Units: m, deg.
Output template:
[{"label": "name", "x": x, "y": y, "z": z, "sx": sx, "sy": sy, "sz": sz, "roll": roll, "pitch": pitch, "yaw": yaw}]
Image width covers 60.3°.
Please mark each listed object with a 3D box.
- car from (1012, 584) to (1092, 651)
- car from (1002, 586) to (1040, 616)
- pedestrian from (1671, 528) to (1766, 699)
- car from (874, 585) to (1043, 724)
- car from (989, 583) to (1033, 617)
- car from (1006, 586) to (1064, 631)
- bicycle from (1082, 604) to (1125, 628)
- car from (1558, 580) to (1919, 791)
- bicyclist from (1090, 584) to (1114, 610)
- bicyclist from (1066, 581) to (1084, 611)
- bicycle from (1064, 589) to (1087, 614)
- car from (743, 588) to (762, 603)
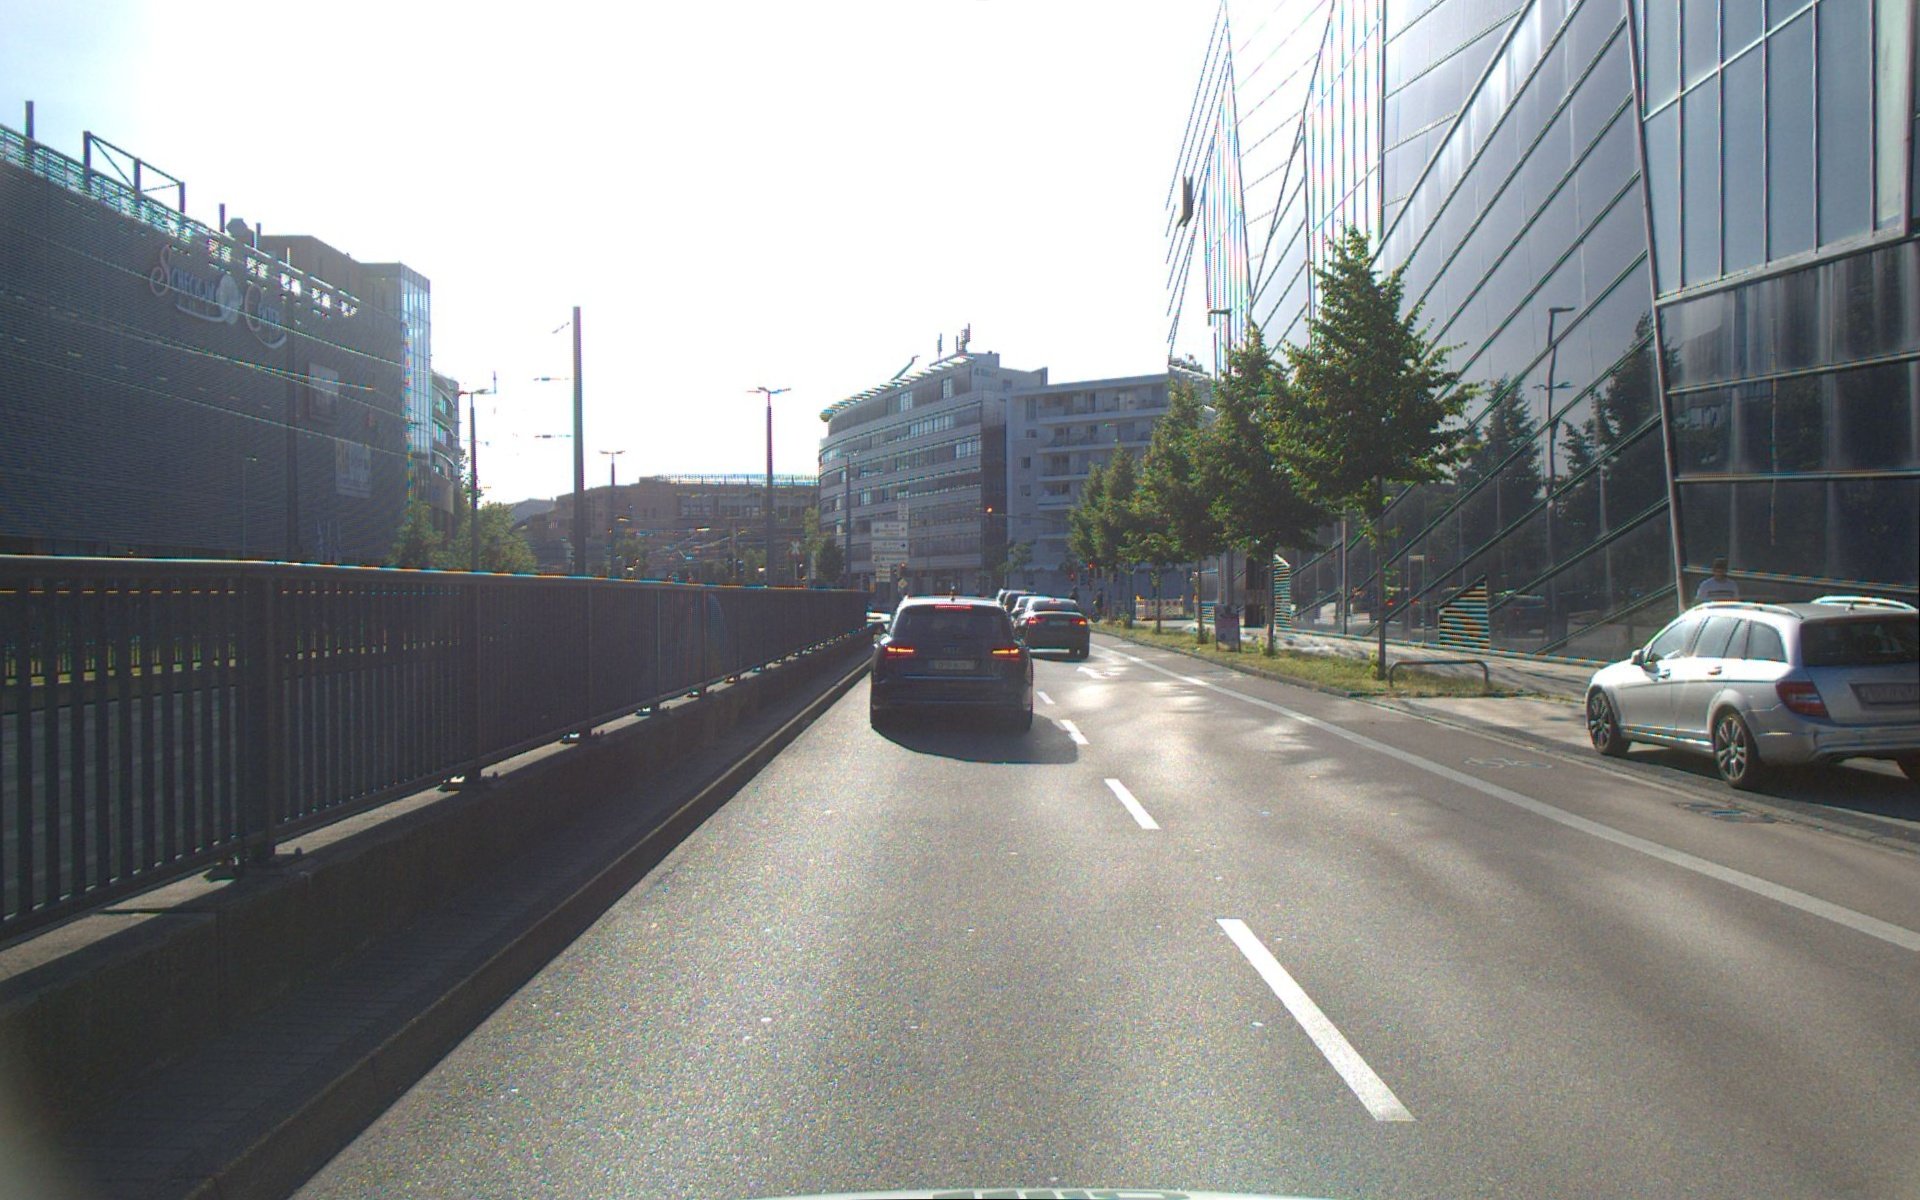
[{"label": "car", "x": 2.282, "y": 0.405, "z": 41.890, "sx": 1.814, "sy": 1.573, "sz": 4.000, "roll": 1, "pitch": 1, "yaw": 0}, {"label": "car", "x": 3.223, "y": 0.029, "z": 87.453, "sx": 1.952, "sy": 1.491, "sz": 4.001, "roll": 1, "pitch": 1, "yaw": 1}, {"label": "pedestrian", "x": 9.322, "y": 0.157, "z": 20.357, "sx": 0.819, "sy": 2.049, "sz": 0.689, "roll": -1, "pitch": 0, "yaw": 0}, {"label": "car", "x": -0.046, "y": 0.573, "z": 19.829, "sx": 1.775, "sy": 1.452, "sz": 4.689, "roll": 0, "pitch": 0, "yaw": -1}, {"label": "car", "x": 2.358, "y": -0.022, "z": 76.318, "sx": 1.952, "sy": 1.491, "sz": 4.001, "roll": 1, "pitch": 1, "yaw": 1}, {"label": "car", "x": 2.658, "y": 0.283, "z": 59.159, "sx": 1.952, "sy": 1.491, "sz": 4.001, "roll": 1, "pitch": 1, "yaw": 1}, {"label": "bicycle", "x": 7.432, "y": 0.826, "z": 85.515, "sx": 2.053, "sy": 1.204, "sz": 0.723, "roll": -2, "pitch": 0, "yaw": -16}, {"label": "car", "x": 7.162, "y": 0.607, "z": 14.760, "sx": 1.815, "sy": 1.506, "sz": 4.853, "roll": -2, "pitch": 1, "yaw": -1}, {"label": "bicyclist", "x": 7.341, "y": -0.137, "z": 85.505, "sx": 1.016, "sy": 1.291, "sz": 0.723, "roll": -2, "pitch": 0, "yaw": -16}, {"label": "bicyclist", "x": 5.647, "y": -0.201, "z": 81.170, "sx": 0.710, "sy": 1.443, "sz": 0.890, "roll": -2, "pitch": 0, "yaw": -7}, {"label": "bicycle", "x": 5.659, "y": 0.078, "z": 81.152, "sx": 0.710, "sy": 1.204, "sz": 2.090, "roll": -2, "pitch": 0, "yaw": -7}, {"label": "car", "x": -25.570, "y": -0.545, "z": 204.096, "sx": 1.954, "sy": 1.780, "sz": 3.998, "roll": -2, "pitch": 0, "yaw": -3}]
